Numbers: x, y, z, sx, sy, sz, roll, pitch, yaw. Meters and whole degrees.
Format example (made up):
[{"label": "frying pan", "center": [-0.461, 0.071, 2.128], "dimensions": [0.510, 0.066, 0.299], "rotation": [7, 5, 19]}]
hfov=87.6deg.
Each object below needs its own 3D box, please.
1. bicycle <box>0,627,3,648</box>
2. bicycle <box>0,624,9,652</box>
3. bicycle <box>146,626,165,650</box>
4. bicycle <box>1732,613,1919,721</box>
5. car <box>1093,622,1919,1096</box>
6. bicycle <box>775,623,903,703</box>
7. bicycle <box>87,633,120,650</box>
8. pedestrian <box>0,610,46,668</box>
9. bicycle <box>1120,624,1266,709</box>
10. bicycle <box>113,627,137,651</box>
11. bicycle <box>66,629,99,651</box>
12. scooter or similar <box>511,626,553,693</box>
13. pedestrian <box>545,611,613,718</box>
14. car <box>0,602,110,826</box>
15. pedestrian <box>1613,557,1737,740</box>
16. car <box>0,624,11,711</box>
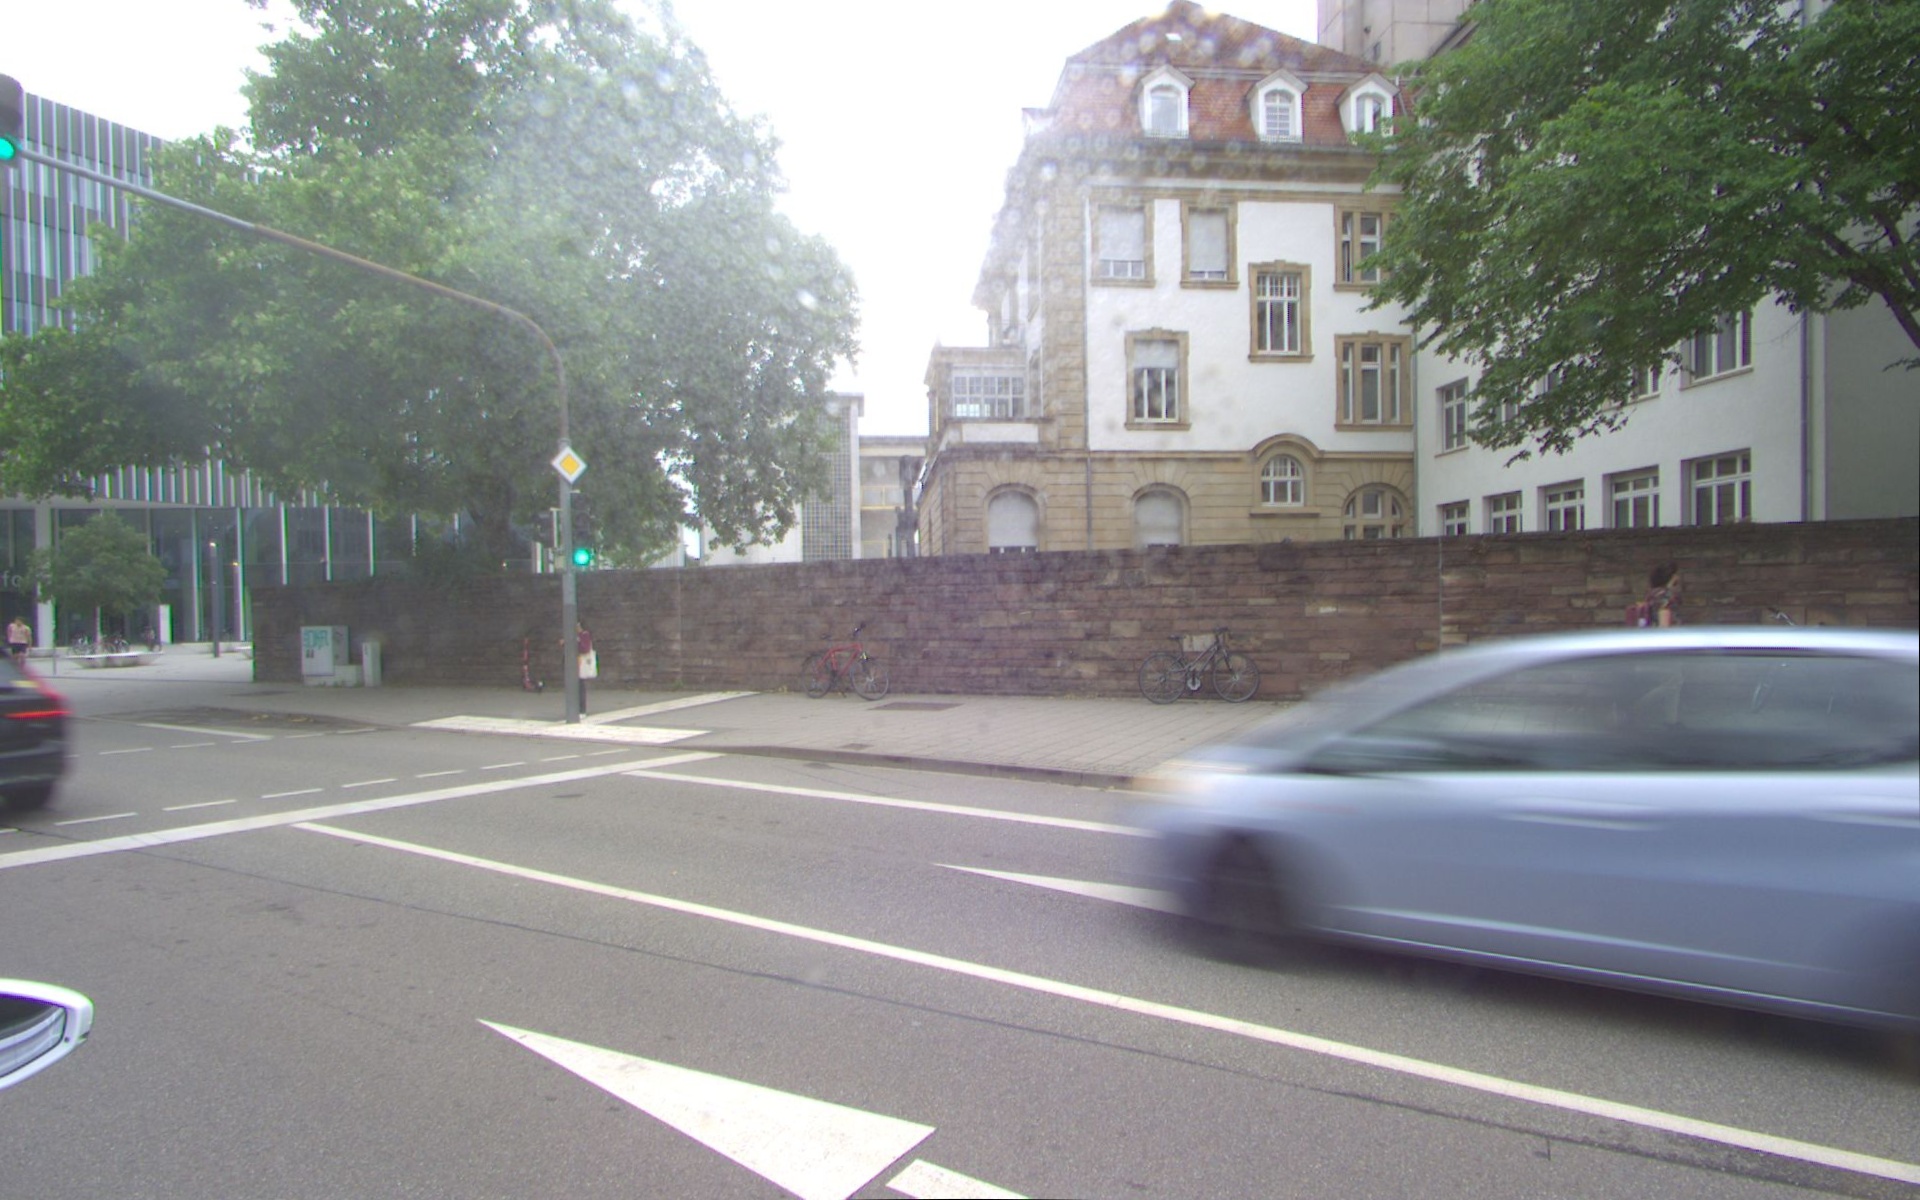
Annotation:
[{"label": "bicycle", "center": [-48.434, 1.917, 49.931], "dimensions": [0.613, 1.060, 1.696], "rotation": [-2, 2, -31]}, {"label": "bicycle", "center": [-46.271, 1.836, 48.199], "dimensions": [0.522, 1.270, 1.652], "rotation": [-3, 2, -39]}, {"label": "bicycle", "center": [-39.224, 1.837, 48.834], "dimensions": [0.616, 1.070, 1.933], "rotation": [-2, 2, -38]}, {"label": "bicycle", "center": [10.178, 0.750, 11.498], "dimensions": [1.889, 1.143, 0.849], "rotation": [-1, 2, 17]}, {"label": "car", "center": [2.583, 0.852, 4.411], "dimensions": [3.607, 1.485, 1.664], "rotation": [-1, -1, 32]}, {"label": "bicycle", "center": [-1.968, 0.994, 16.296], "dimensions": [1.923, 1.190, 0.802], "rotation": [-1, 3, 27]}, {"label": "bicycle", "center": [-41.612, 2.020, 48.675], "dimensions": [0.510, 0.726, 1.525], "rotation": [-1, 1, -11]}, {"label": "pedestrian", "center": [-30.092, 1.233, 32.158], "dimensions": [0.756, 1.789, 0.845], "rotation": [0, 2, 32]}, {"label": "bicycle", "center": [3.316, 0.923, 14.187], "dimensions": [1.934, 1.088, 0.941], "rotation": [-1, 2, 17]}, {"label": "bicycle", "center": [-40.476, 1.876, 48.554], "dimensions": [0.802, 1.070, 1.933], "rotation": [-2, 2, -38]}, {"label": "bicycle", "center": [-42.482, 1.944, 48.509], "dimensions": [0.686, 0.959, 1.975], "rotation": [-2, 1, -27]}, {"label": "scooter or similar", "center": [-8.359, 1.129, 19.540], "dimensions": [0.427, 1.195, 1.693], "rotation": [-3, 2, -33]}, {"label": "pedestrian", "center": [-5.955, 0.994, 15.681], "dimensions": [0.627, 1.584, 0.658], "rotation": [0, 5, 32]}, {"label": "car", "center": [-8.998, 0.860, 8.148], "dimensions": [4.382, 1.621, 1.880], "rotation": [-1, -1, 31]}, {"label": "pedestrian", "center": [7.538, 0.487, 10.609], "dimensions": [1.018, 1.846, 0.629], "rotation": [0, 2, 32]}, {"label": "car", "center": [-20.382, 1.282, 19.317], "dimensions": [4.425, 1.645, 1.904], "rotation": [-1, -2, 31]}]
